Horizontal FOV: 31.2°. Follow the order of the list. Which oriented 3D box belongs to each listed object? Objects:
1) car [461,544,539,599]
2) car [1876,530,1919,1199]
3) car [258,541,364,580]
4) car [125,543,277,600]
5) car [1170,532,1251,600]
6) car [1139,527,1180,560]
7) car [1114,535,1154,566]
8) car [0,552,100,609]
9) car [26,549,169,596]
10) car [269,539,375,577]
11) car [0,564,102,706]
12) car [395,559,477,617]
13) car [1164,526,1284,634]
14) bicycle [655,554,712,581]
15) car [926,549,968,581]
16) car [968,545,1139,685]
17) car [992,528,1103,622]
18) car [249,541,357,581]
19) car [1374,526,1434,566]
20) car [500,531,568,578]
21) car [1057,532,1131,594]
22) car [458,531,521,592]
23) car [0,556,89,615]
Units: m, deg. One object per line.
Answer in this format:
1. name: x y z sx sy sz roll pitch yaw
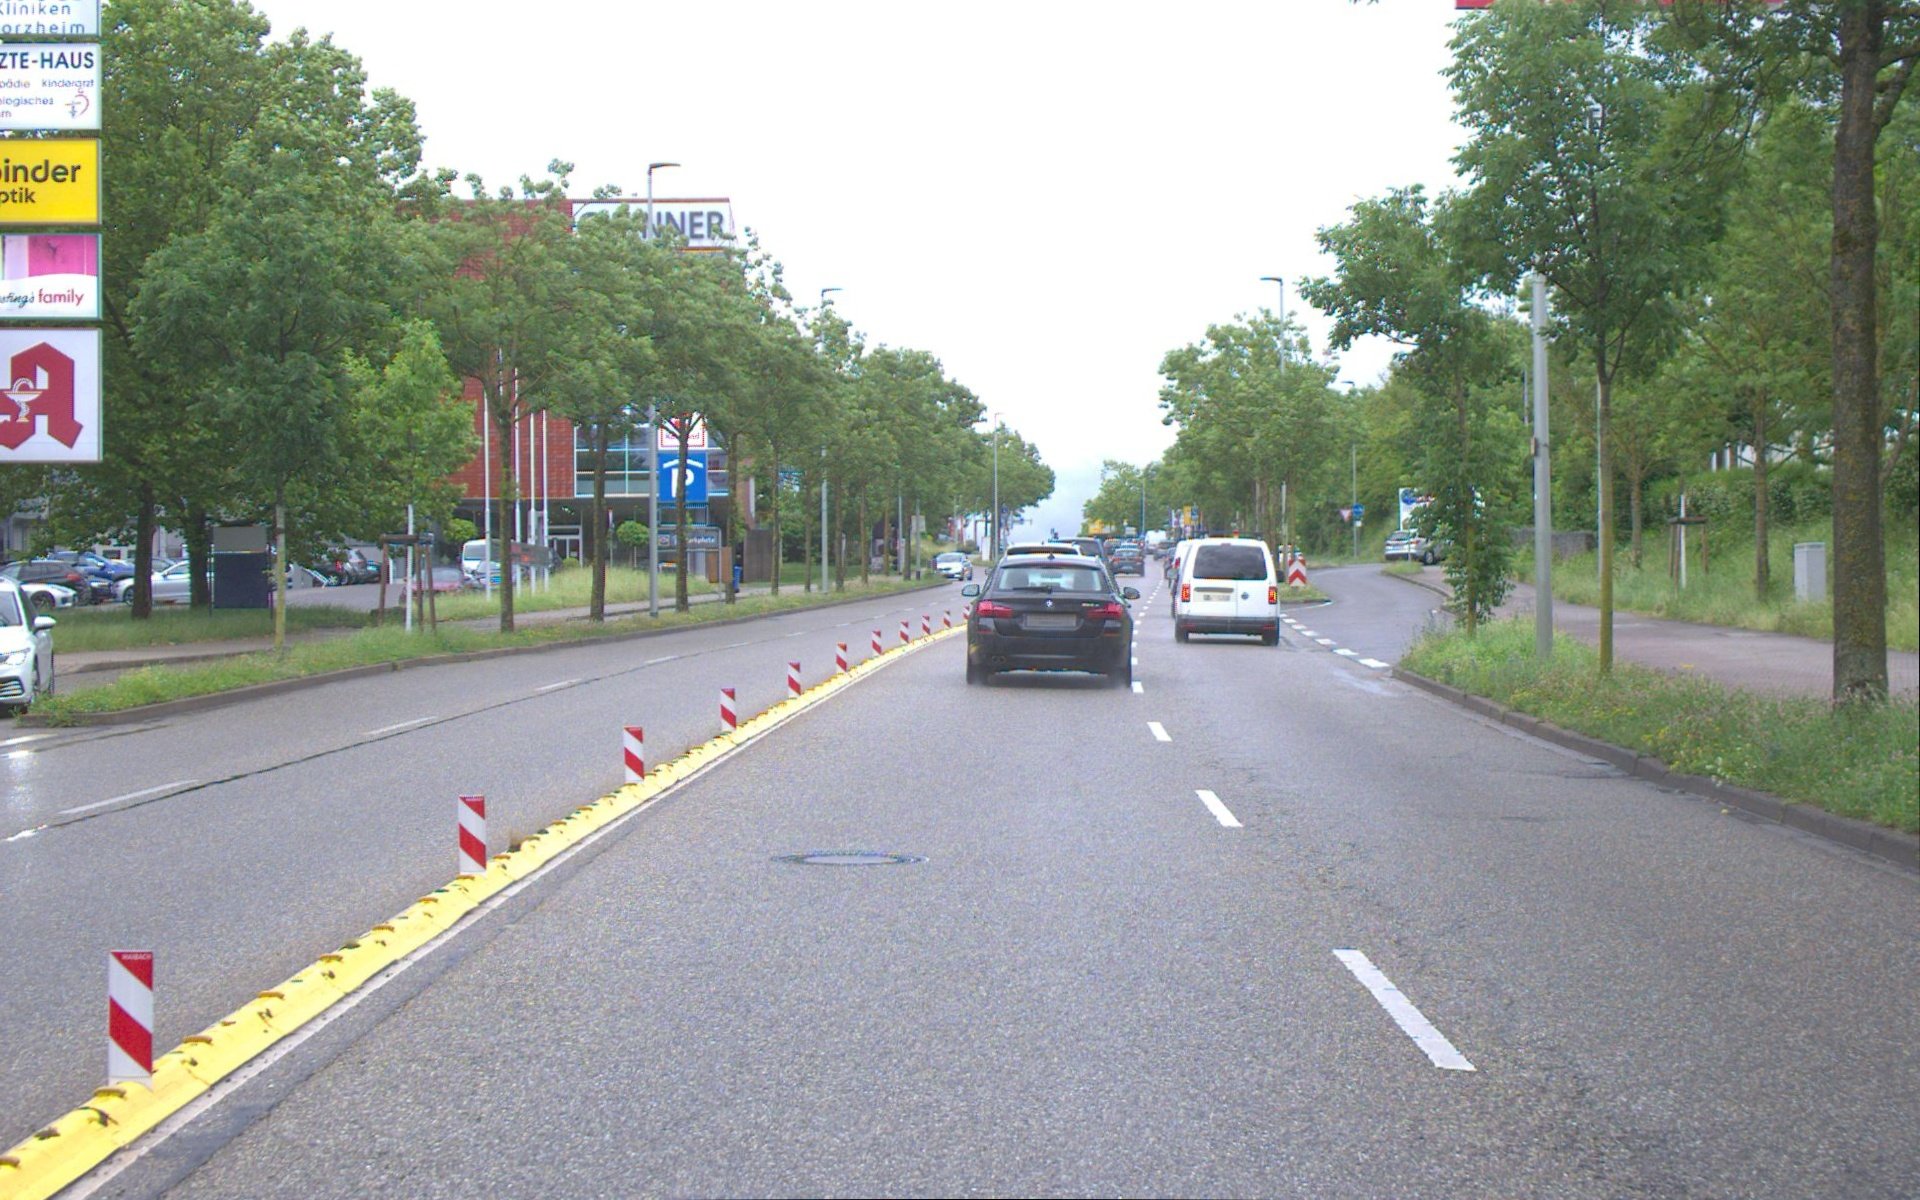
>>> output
1. car: -16.212 -1.016 121.416 2.039 1.756 4.946 1 2 0
2. car: 3.020 0.679 5.868 1.685 1.575 4.219 1 1 -1
3. car: -26.773 -1.634 141.832 4.108 1.505 1.819 1 2 -4
4. car: -24.727 -0.922 112.117 4.598 1.740 1.968 1 2 -4
5. car: 5.869 -0.789 80.777 1.794 1.505 4.000 2 0 3
6. car: 9.424 -2.666 162.766 1.794 1.505 4.000 2 0 2
7. car: 8.896 -2.528 176.014 1.794 1.505 4.000 2 0 0
8. car: -29.971 -0.633 109.840 4.597 1.740 2.134 1 2 -8
9. car: -30.315 -0.969 120.888 4.609 1.505 2.026 1 2 -4
10. car: -26.667 -1.762 143.848 4.190 1.505 1.819 1 2 -4
11. car: -10.800 0.369 37.657 1.899 1.403 4.425 -2 1 -3
12. car: -16.279 -0.402 106.984 1.933 1.603 4.712 1 2 -2
13. car: 4.520 -0.370 59.324 1.827 1.753 4.000 2 1 2
14. bicycle: -11.259 -1.313 140.038 2.077 0.932 1.093 4 1 8
15. car: -0.663 -1.803 176.906 1.867 1.547 4.575 -2 1 3
16. car: 1.074 0.130 39.310 1.827 1.463 4.000 1 1 2
17. car: 1.489 -0.427 58.755 1.794 1.505 4.000 2 0 1
18. car: -26.652 -1.592 139.595 4.108 1.505 1.819 1 2 -4
19. car: 18.157 -2.204 140.608 1.795 1.505 3.997 2 0 16
20. car: -17.599 -1.905 142.302 2.138 1.767 4.608 1 2 1
21. car: 3.392 -0.940 87.727 1.794 1.505 4.000 2 0 1
22. car: -17.375 -1.444 127.162 2.113 2.088 5.123 1 2 -6
23. car: -29.553 -0.460 106.834 4.597 1.740 1.968 1 2 -8
